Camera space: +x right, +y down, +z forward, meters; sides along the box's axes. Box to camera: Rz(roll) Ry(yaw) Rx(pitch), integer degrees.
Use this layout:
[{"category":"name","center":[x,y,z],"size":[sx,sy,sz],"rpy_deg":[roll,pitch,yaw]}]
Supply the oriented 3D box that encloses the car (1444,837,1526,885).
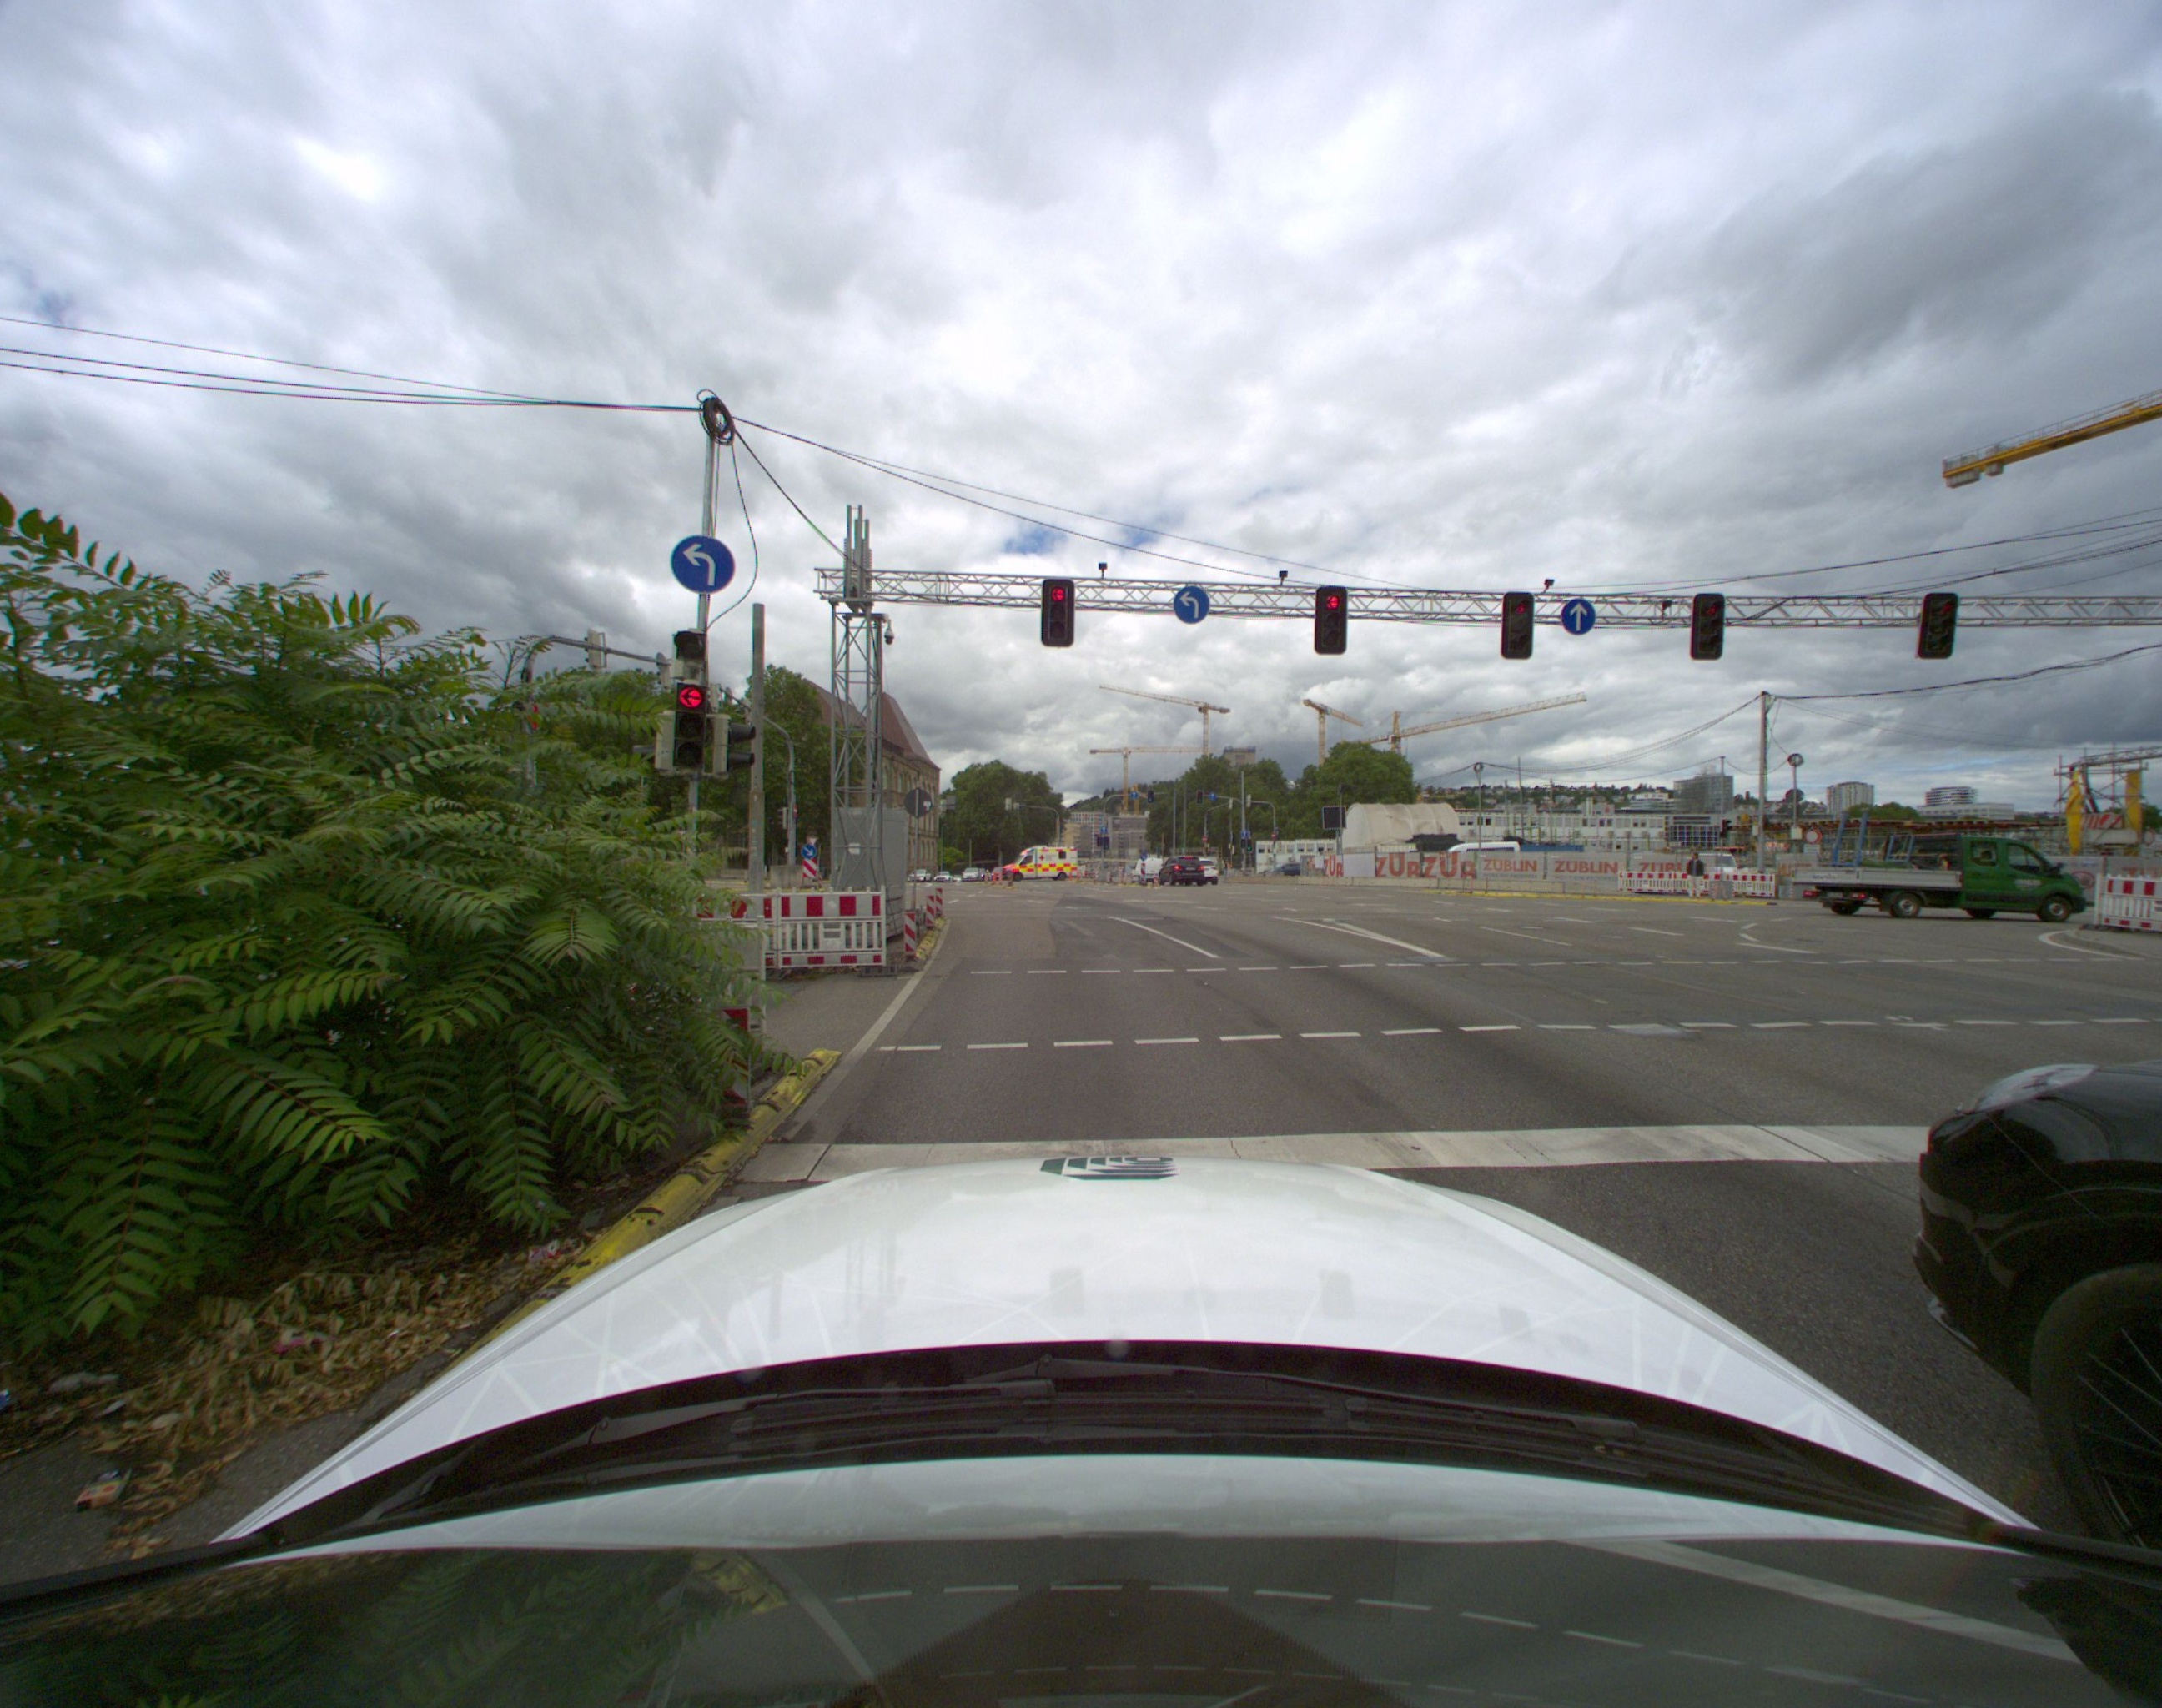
[{"category":"car","center":[23.226,0.423,46.975],"size":[3.957,2.662,1.688],"rpy_deg":[-1,-1,15]}]

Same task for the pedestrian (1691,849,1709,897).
[{"category":"pedestrian","center":[25.692,0.767,33.800],"size":[0.581,1.976,0.437],"rpy_deg":[0,0,43]}]

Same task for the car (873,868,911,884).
[{"category":"car","center":[-17.810,2.031,76.836],"size":[1.662,1.398,3.702],"rpy_deg":[-1,-1,21]}]

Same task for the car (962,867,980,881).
[{"category":"car","center":[-11.625,2.120,86.076],"size":[1.673,1.398,3.677],"rpy_deg":[0,-1,-4]}]

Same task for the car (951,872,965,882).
[{"category":"car","center":[-17.411,3.234,115.017],"size":[1.673,1.398,3.677],"rpy_deg":[0,-1,-4]}]

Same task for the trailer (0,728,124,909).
[{"category":"trailer","center":[-32.426,-0.773,20.003],"size":[13.708,4.281,2.945],"rpy_deg":[0,-1,-3]}]

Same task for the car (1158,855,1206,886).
[{"category":"car","center":[5.955,0.941,48.494],"size":[1.830,1.746,4.244],"rpy_deg":[0,-1,-8]}]

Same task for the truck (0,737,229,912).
[{"category":"truck","center":[-25.345,-0.671,20.330],"size":[4.864,4.064,2.942],"rpy_deg":[0,-1,-3]}]

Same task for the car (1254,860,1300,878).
[{"category":"car","center":[19.075,1.439,79.345],"size":[3.996,1.625,1.812],"rpy_deg":[0,-1,-17]}]

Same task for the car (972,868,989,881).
[{"category":"car","center":[-11.342,2.270,92.306],"size":[1.673,1.398,3.677],"rpy_deg":[0,-1,-4]}]

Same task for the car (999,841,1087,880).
[{"category":"car","center":[-3.051,0.524,65.843],"size":[6.753,3.052,2.358],"rpy_deg":[0,-1,-17]}]

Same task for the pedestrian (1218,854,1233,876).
[{"category":"pedestrian","center":[13.856,1.047,77.994],"size":[1.094,2.014,1.181],"rpy_deg":[0,-1,-10]}]

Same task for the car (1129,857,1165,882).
[{"category":"car","center":[4.520,1.023,56.045],"size":[1.814,1.625,3.992],"rpy_deg":[0,-1,-5]}]

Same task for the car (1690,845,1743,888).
[{"category":"car","center":[30.129,0.561,38.701],"size":[1.755,1.954,3.146],"rpy_deg":[-1,-1,34]}]

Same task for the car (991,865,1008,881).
[{"category":"car","center":[-8.485,1.998,85.092],"size":[1.673,1.580,3.677],"rpy_deg":[0,-1,-4]}]

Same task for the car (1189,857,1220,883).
[{"category":"car","center":[8.341,1.074,55.015],"size":[1.670,1.702,3.375],"rpy_deg":[0,-1,2]}]

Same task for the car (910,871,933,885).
[{"category":"car","center":[-17.358,2.568,88.718],"size":[1.670,1.398,3.682],"rpy_deg":[0,-1,0]}]

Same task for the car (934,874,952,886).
[{"category":"car","center":[-17.356,3.277,102.500],"size":[1.671,1.398,3.680],"rpy_deg":[1,0,-2]}]

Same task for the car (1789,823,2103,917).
[{"category":"car","center":[22.615,0.419,21.527],"size":[5.736,2.305,2.305],"rpy_deg":[0,-1,2]}]

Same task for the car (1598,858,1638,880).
[{"category":"car","center":[39.027,1.084,59.245],"size":[1.661,1.528,4.021],"rpy_deg":[-1,-1,22]}]
